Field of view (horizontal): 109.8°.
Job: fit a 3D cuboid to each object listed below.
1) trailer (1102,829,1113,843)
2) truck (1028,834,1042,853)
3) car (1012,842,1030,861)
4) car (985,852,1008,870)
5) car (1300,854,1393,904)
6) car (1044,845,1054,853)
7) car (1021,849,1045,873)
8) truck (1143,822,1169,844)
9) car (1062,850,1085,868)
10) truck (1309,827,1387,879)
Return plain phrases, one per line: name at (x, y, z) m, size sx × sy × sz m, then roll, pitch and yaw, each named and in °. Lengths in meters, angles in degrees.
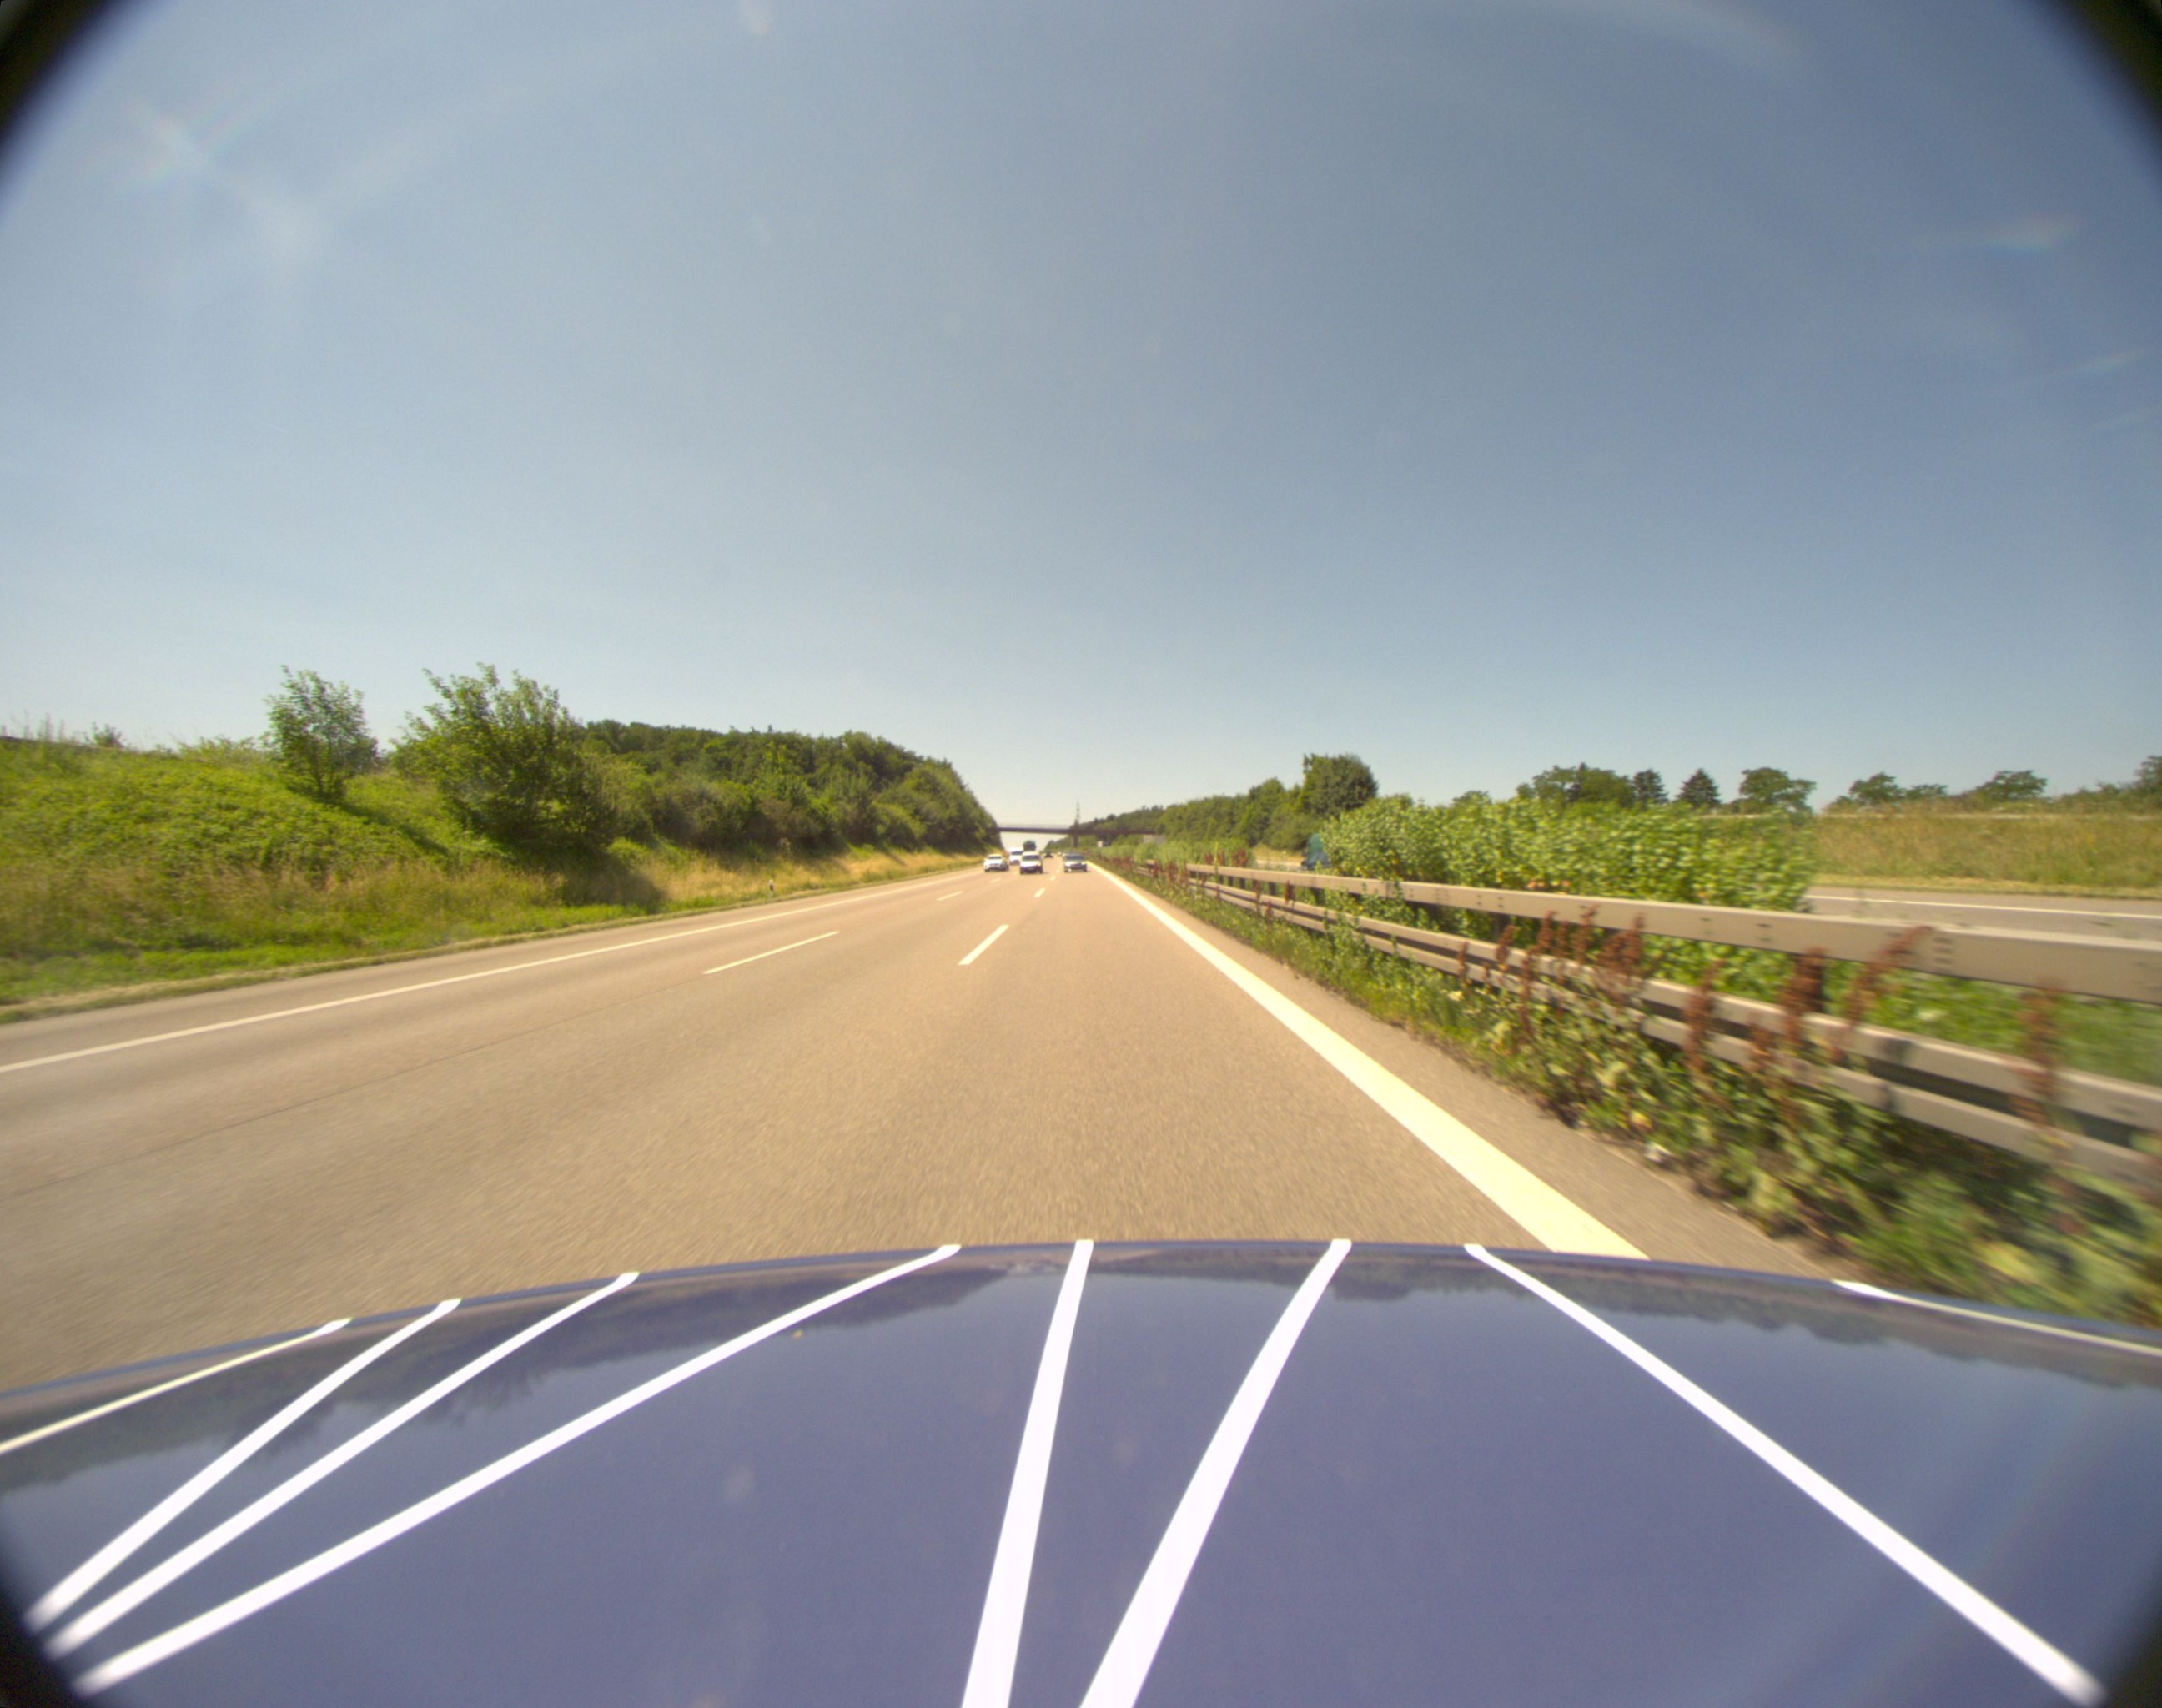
trailer at (9.246, -6.157, 264.594) m, size 2.641 × 4.228 × 14.673 m, roll -2°, pitch 0°, yaw -2°
truck at (-9.533, -2.090, 156.201) m, size 2.517 × 3.819 × 4.889 m, roll -2°, pitch 0°, yaw -7°
car at (-8.430, -0.312, 105.801) m, size 2.096 × 2.561 × 6.618 m, roll -2°, pitch 0°, yaw -7°
car at (-8.237, 0.665, 74.278) m, size 1.786 × 1.641 × 4.402 m, roll -2°, pitch 0°, yaw -1°
car at (8.982, 0.798, 26.027) m, size 1.786 × 1.499 × 4.000 m, roll -2°, pitch 0°, yaw 1°
car at (-6.727, -1.008, 158.601) m, size 1.789 × 1.550 × 3.941 m, roll -2°, pitch 0°, yaw -7°
car at (-3.898, 0.541, 62.410) m, size 1.750 × 1.819 × 4.799 m, roll -2°, pitch 1°, yaw -2°
truck at (14.755, -4.071, 151.096) m, size 2.983 × 3.990 × 16.822 m, roll -2°, pitch 1°, yaw -2°
car at (-0.654, 0.441, 62.839) m, size 1.768 × 1.400 × 3.998 m, roll -2°, pitch 0°, yaw -2°
truck at (13.603, -0.067, 39.126) m, size 2.025 × 2.472 × 5.563 m, roll -2°, pitch 0°, yaw 0°
